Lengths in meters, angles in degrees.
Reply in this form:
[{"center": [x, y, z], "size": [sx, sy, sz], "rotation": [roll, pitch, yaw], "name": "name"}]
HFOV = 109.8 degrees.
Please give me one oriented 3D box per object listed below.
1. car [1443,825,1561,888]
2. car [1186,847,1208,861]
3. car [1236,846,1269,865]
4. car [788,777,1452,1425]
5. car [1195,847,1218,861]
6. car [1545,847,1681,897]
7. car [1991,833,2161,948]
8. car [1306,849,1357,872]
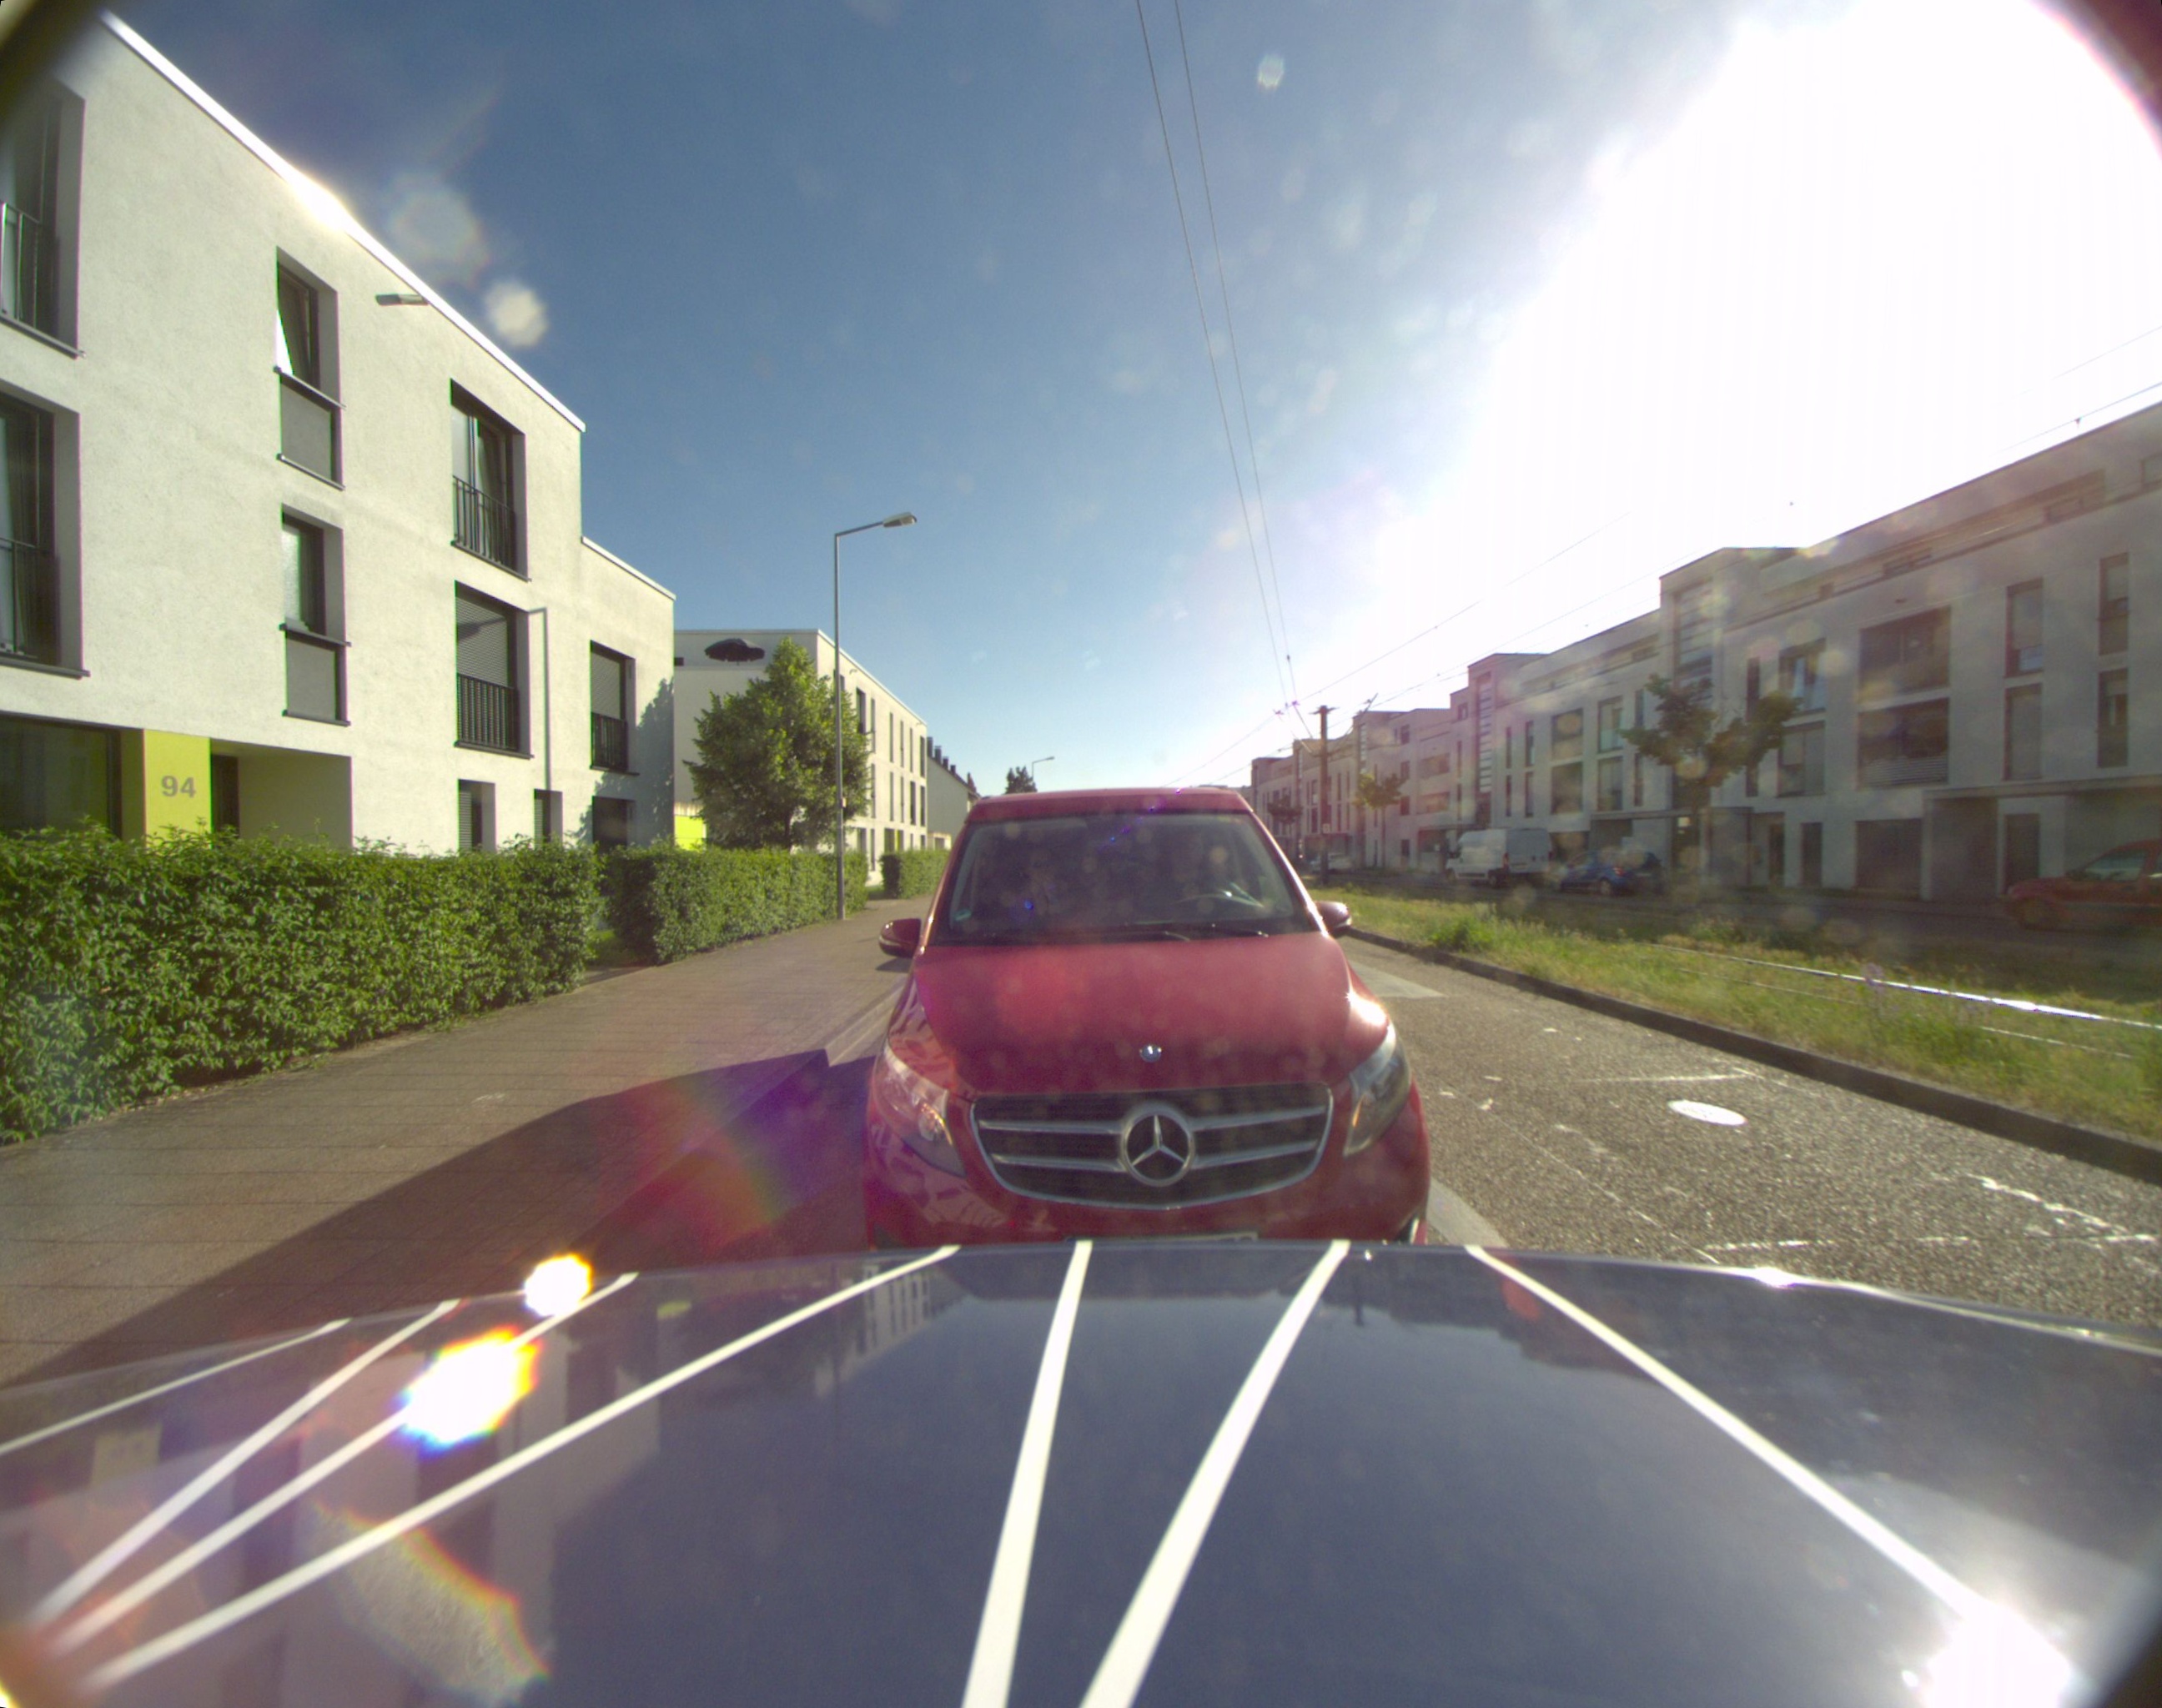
[{"center": [18.166, 0.078, 33.155], "size": [2.225, 2.458, 5.195], "rotation": [-2, 1, 0], "name": "car"}, {"center": [15.183, -0.054, 99.642], "size": [1.923, 1.671, 4.282], "rotation": [-2, 1, -4], "name": "car"}, {"center": [16.715, 0.138, 74.339], "size": [1.923, 1.671, 4.282], "rotation": [-2, 1, -4], "name": "car"}, {"center": [0.150, 0.708, 4.475], "size": [1.874, 1.843, 4.506], "rotation": [-2, 1, 1], "name": "car"}, {"center": [15.469, -0.032, 93.890], "size": [1.923, 1.671, 4.282], "rotation": [-2, 1, -4], "name": "car"}, {"center": [18.374, 0.579, 26.484], "size": [1.999, 1.536, 3.835], "rotation": [-2, 1, 0], "name": "car"}, {"center": [18.615, 0.582, 12.793], "size": [1.998, 1.817, 3.895], "rotation": [-2, 1, 3], "name": "car"}, {"center": [17.631, 0.419, 53.724], "size": [1.923, 1.497, 4.282], "rotation": [-2, 1, -4], "name": "car"}]
